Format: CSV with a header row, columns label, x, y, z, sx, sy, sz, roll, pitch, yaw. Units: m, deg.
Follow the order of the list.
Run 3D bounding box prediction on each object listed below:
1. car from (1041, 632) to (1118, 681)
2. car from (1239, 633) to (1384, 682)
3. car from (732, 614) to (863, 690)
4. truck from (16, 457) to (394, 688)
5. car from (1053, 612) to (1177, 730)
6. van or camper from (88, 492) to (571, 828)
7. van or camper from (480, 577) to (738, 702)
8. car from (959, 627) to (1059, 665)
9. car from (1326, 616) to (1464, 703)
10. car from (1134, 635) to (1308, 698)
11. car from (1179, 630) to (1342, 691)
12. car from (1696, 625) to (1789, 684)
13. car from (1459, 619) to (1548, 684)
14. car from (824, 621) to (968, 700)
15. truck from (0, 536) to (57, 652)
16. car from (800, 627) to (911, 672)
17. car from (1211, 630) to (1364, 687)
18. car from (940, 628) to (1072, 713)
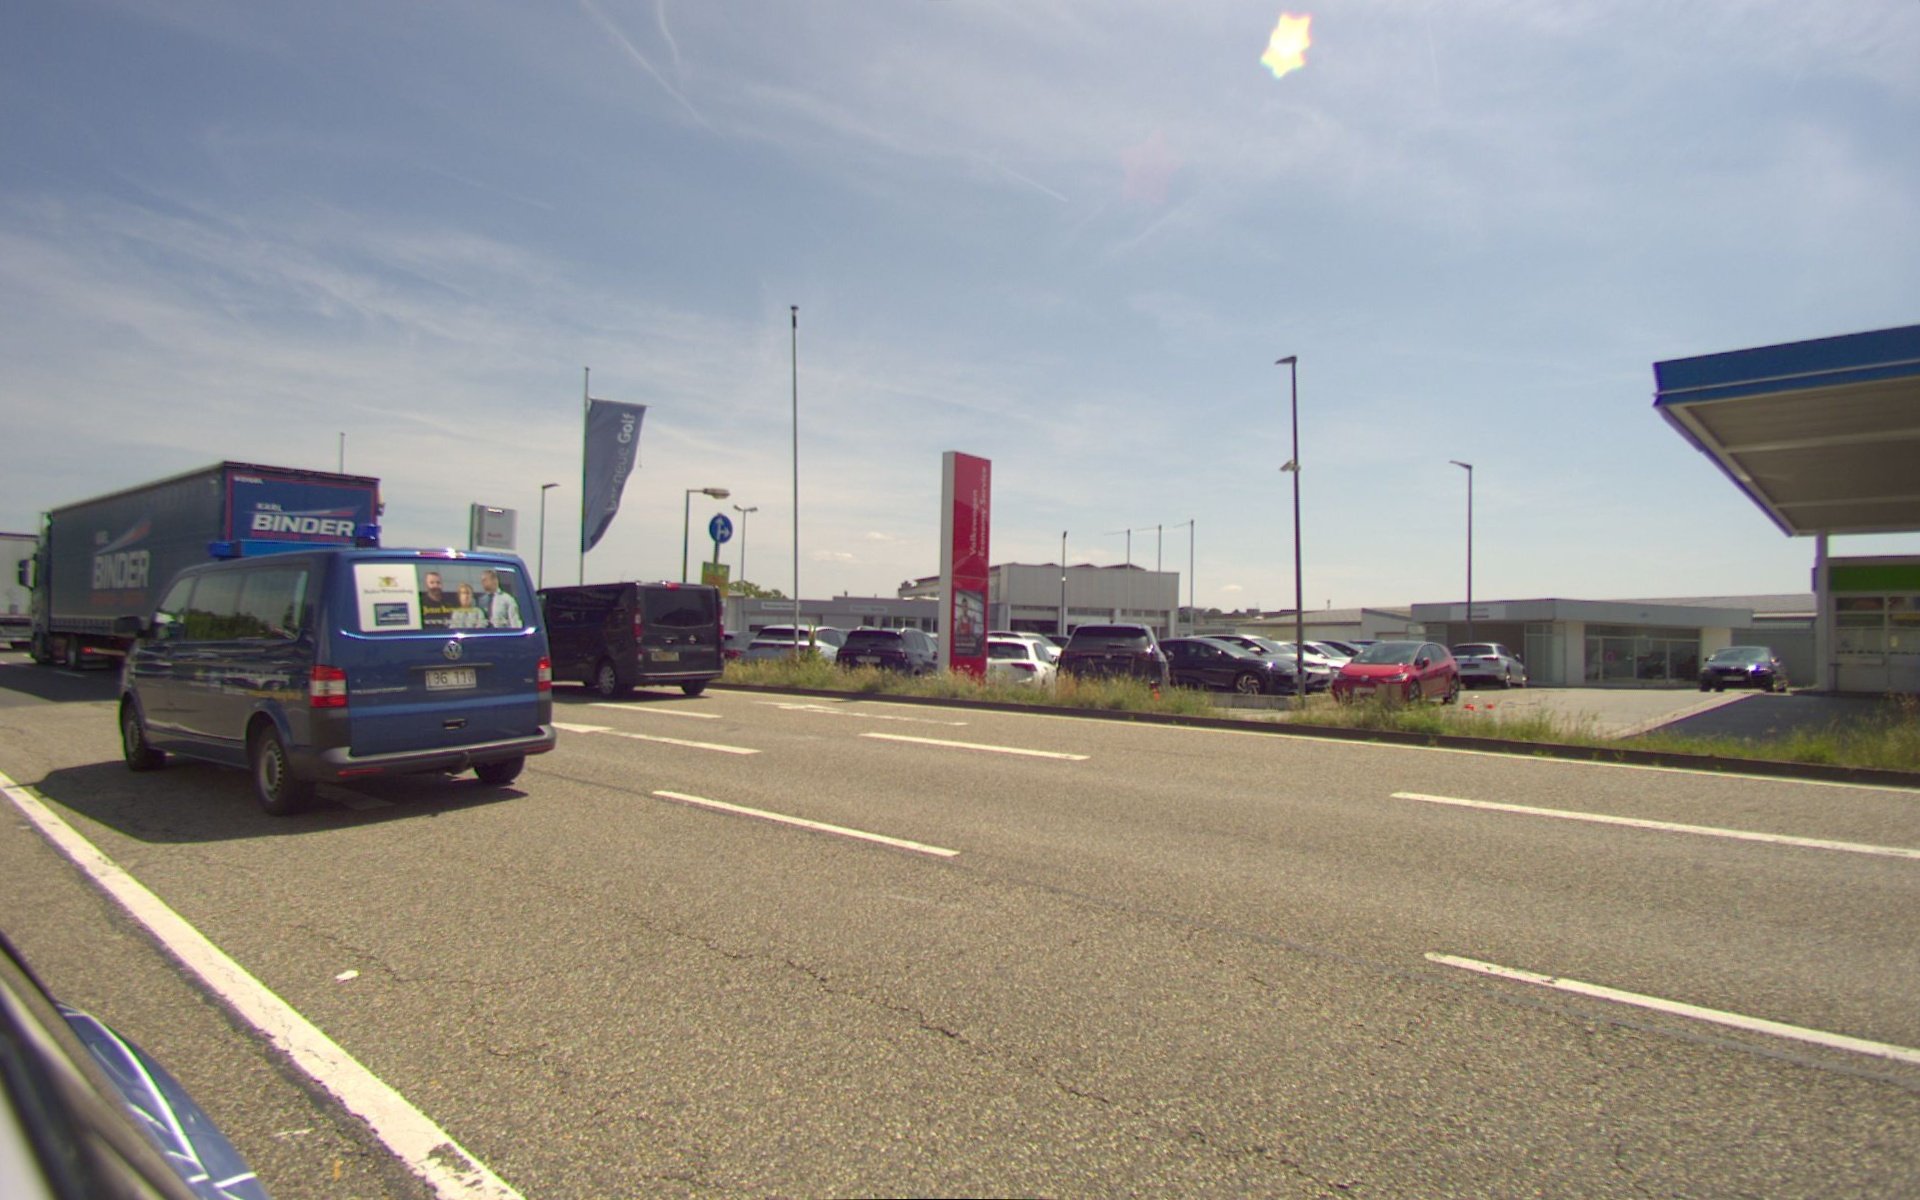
label,x,y,z,sx,sy,sz,roll,pitch,yaw
car,3.786,1.716,31.582,1.980,1.409,3.983,0,-2,13
car,11.019,1.779,31.878,3.995,1.406,1.690,-1,-2,39
car,-3.656,1.154,23.526,1.762,1.598,4.169,0,-2,10
truck,-18.385,-0.340,23.598,16.985,3.919,2.816,-1,-2,39
car,2.665,1.091,17.134,1.822,1.717,3.987,1,-1,10
van or camper,-5.724,0.418,8.855,5.334,2.154,1.819,-1,-1,37
van or camper,-6.484,0.677,18.342,5.379,1.950,1.973,-1,-2,41
car,1.898,1.772,39.678,3.701,1.431,1.619,-1,-2,39
car,10.590,1.382,24.495,1.999,1.918,3.945,-1,-2,41
car,6.667,1.644,26.052,3.995,1.452,1.690,-1,-2,39
car,8.241,1.612,27.957,3.995,1.547,1.690,-1,-2,39
car,23.871,1.622,30.837,1.948,1.652,3.944,-1,-2,42
car,17.606,1.698,32.728,1.861,1.937,3.948,-1,-5,39
car,-1.260,1.229,21.685,1.804,1.497,3.977,0,-2,17
truck,-39.099,-0.225,39.189,16.450,3.918,2.765,0,-1,36
car,-3.610,1.667,34.713,3.701,1.431,1.619,-1,-2,39
car,9.677,1.678,30.067,3.995,1.547,1.690,-1,-2,39
car,1.044,1.338,20.457,1.980,1.530,3.983,0,-2,13
